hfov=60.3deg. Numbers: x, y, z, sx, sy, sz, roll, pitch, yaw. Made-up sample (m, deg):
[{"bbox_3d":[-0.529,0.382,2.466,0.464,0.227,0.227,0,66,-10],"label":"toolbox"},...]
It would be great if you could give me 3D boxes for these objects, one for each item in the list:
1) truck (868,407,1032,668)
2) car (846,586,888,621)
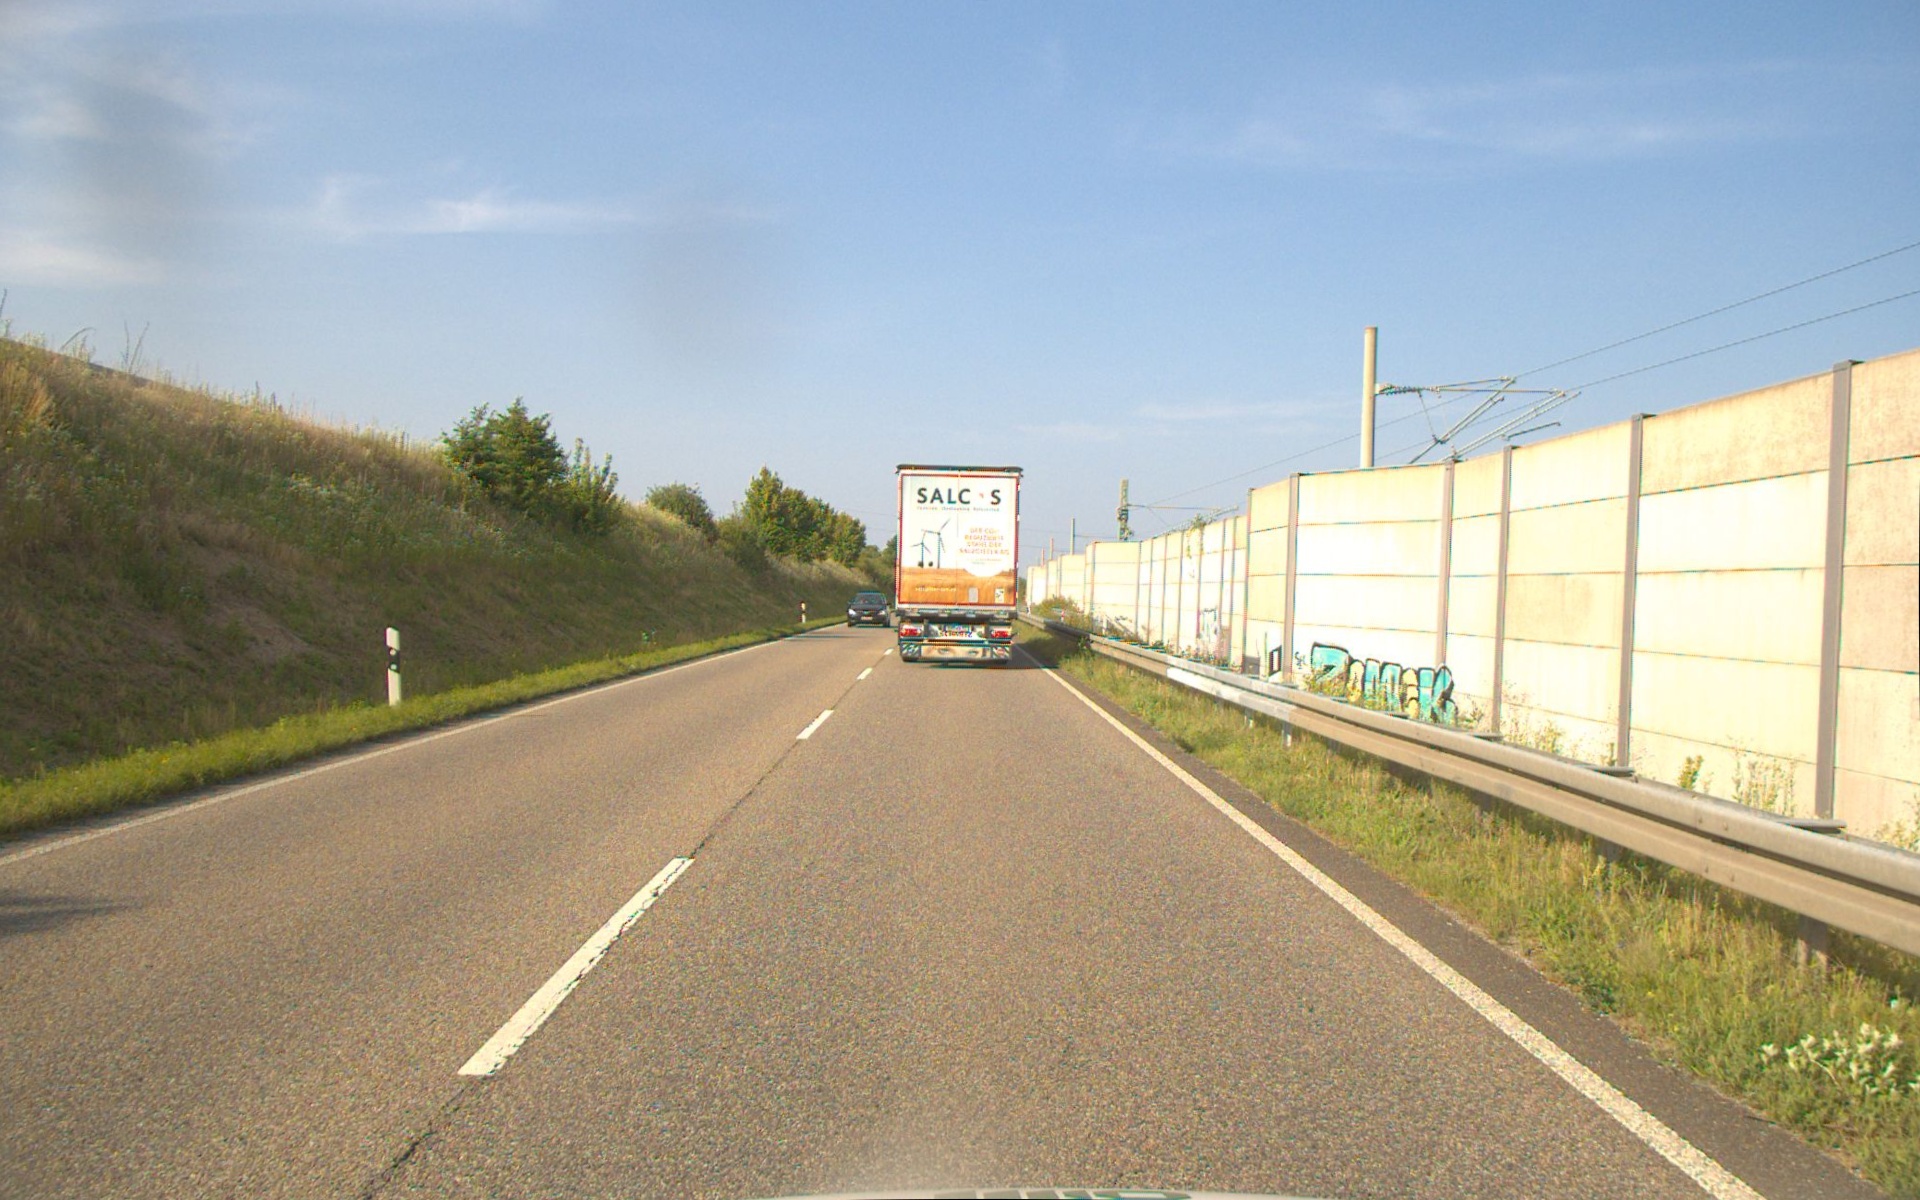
[{"bbox_3d":[-0.201,-1.289,39.180,3.223,5.179,12.037,1,0,0],"label":"truck"},{"bbox_3d":[-4.042,0.116,72.478,1.681,1.479,4.018,0,0,-1],"label":"car"}]
